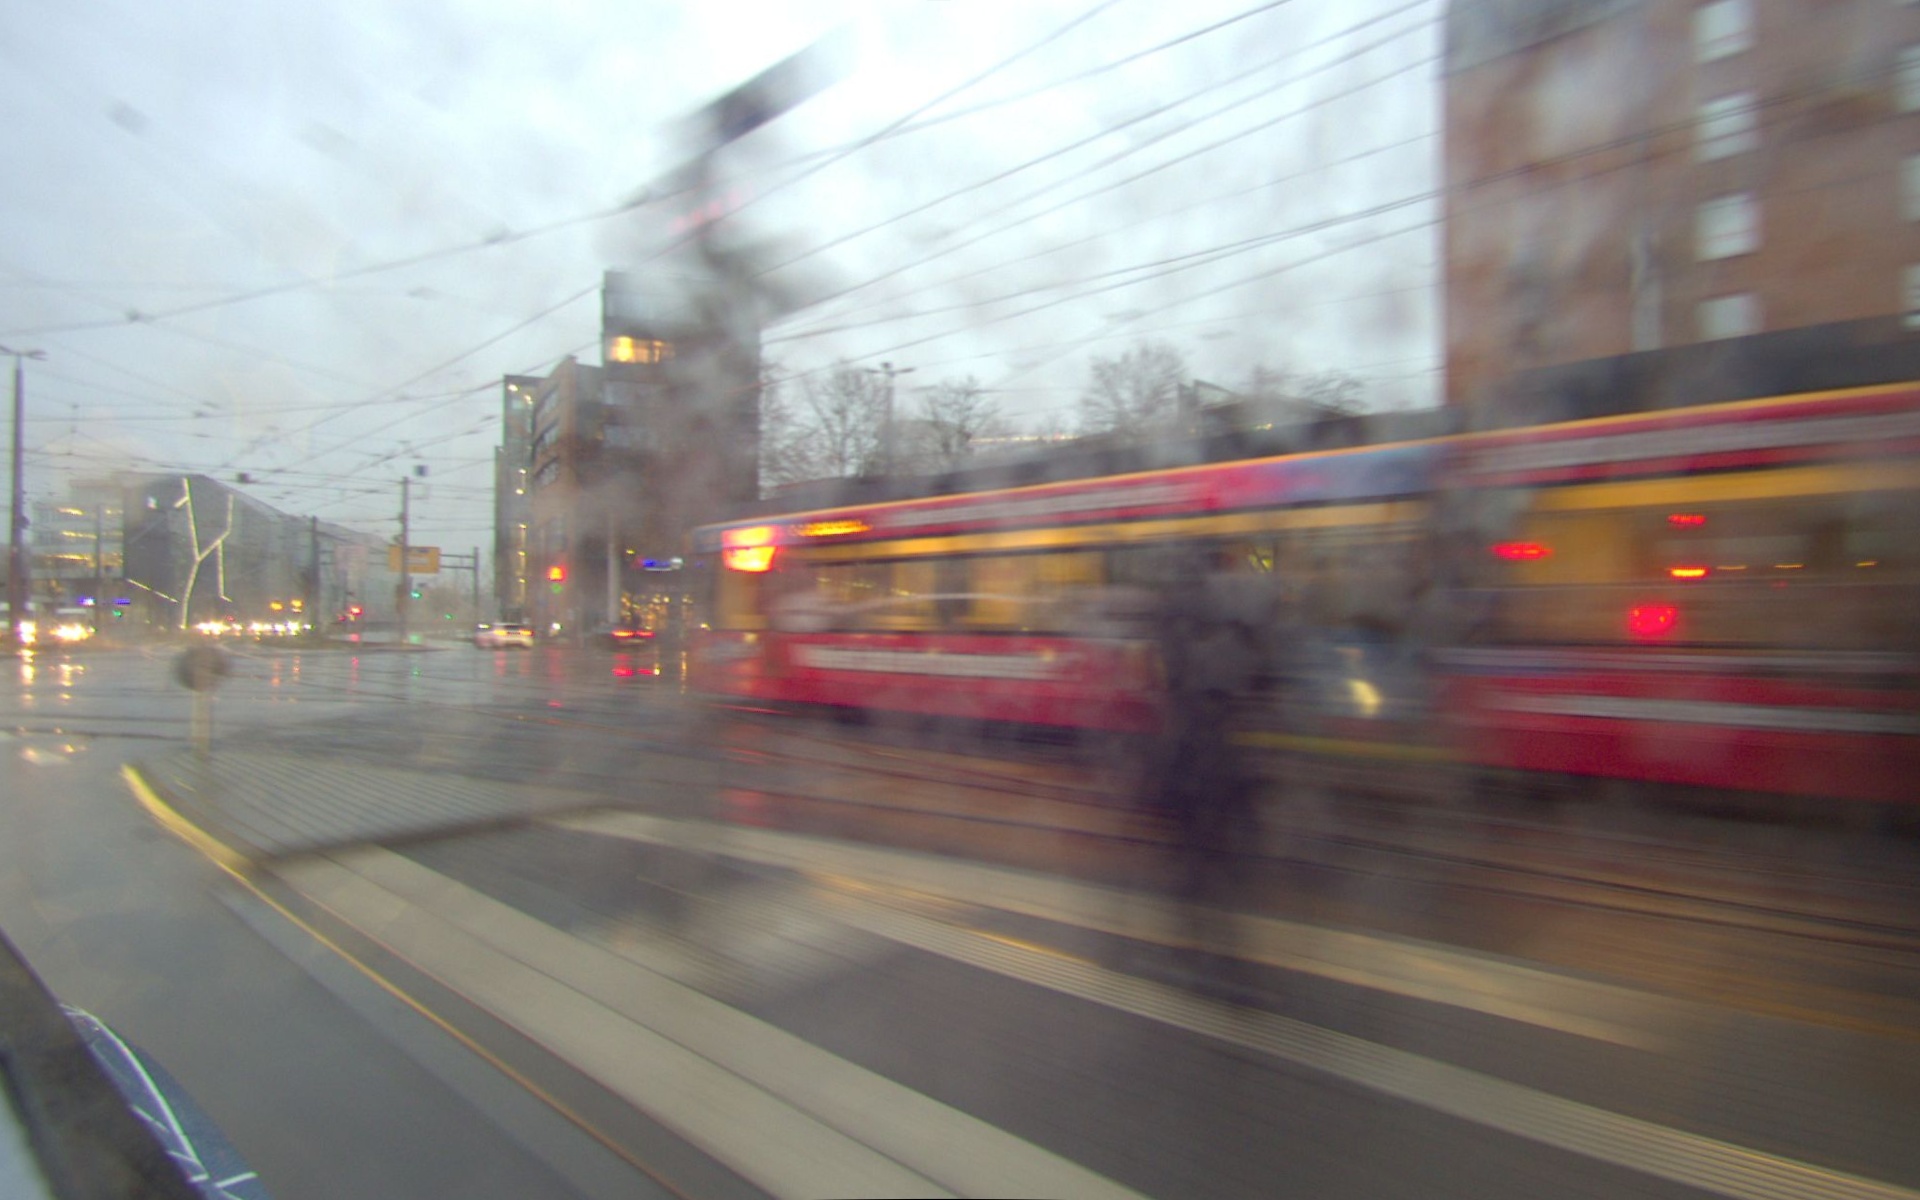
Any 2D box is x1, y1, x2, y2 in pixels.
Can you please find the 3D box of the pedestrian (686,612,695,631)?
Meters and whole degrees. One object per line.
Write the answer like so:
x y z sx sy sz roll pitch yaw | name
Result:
-24.173 1.931 90.723 0.682 1.721 0.928 0 -2 -9 | pedestrian

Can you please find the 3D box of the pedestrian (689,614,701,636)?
-20.043 1.886 76.615 0.729 1.669 0.696 1 -2 -27 | pedestrian

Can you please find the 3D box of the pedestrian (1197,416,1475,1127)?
1.115 0.451 3.028 0.669 1.859 0.408 -1 -1 39 | pedestrian

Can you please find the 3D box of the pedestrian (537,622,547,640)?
-29.192 2.146 70.679 0.439 1.274 0.497 -1 -1 -41 | pedestrian

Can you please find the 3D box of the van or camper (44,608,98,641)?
-67.591 1.889 77.019 2.150 2.370 5.666 -1 -1 -32 | van or camper

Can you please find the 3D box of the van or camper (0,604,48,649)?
-56.809 1.598 60.946 2.028 2.567 5.900 -1 0 -35 | van or camper

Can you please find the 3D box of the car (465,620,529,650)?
-24.410 1.840 53.298 4.203 1.506 1.649 -1 -2 45 | car

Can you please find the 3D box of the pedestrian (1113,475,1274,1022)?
0.833 0.489 3.615 0.439 1.800 0.356 -1 -1 39 | pedestrian

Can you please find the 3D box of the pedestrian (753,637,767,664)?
-14.924 3.773 75.607 0.756 2.029 0.700 -1 -2 30 | pedestrian

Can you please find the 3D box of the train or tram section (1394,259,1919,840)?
8.634 -0.369 5.697 11.038 3.605 2.892 -1 0 44 | train or tram section

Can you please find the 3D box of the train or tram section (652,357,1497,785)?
0.221 -0.158 13.879 12.258 3.616 2.917 -1 0 44 | train or tram section

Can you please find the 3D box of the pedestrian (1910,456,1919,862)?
2.845 0.472 2.634 0.473 1.748 0.429 -1 -1 39 | pedestrian

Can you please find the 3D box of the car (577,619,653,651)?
-16.918 1.704 49.537 4.234 1.516 1.733 -1 -2 43 | car

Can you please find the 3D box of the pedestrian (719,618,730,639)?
-18.775 2.278 80.643 0.715 1.721 0.696 1 -2 -27 | pedestrian

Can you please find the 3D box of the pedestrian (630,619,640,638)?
-26.004 2.279 80.963 0.641 1.515 0.696 1 -2 -27 | pedestrian
